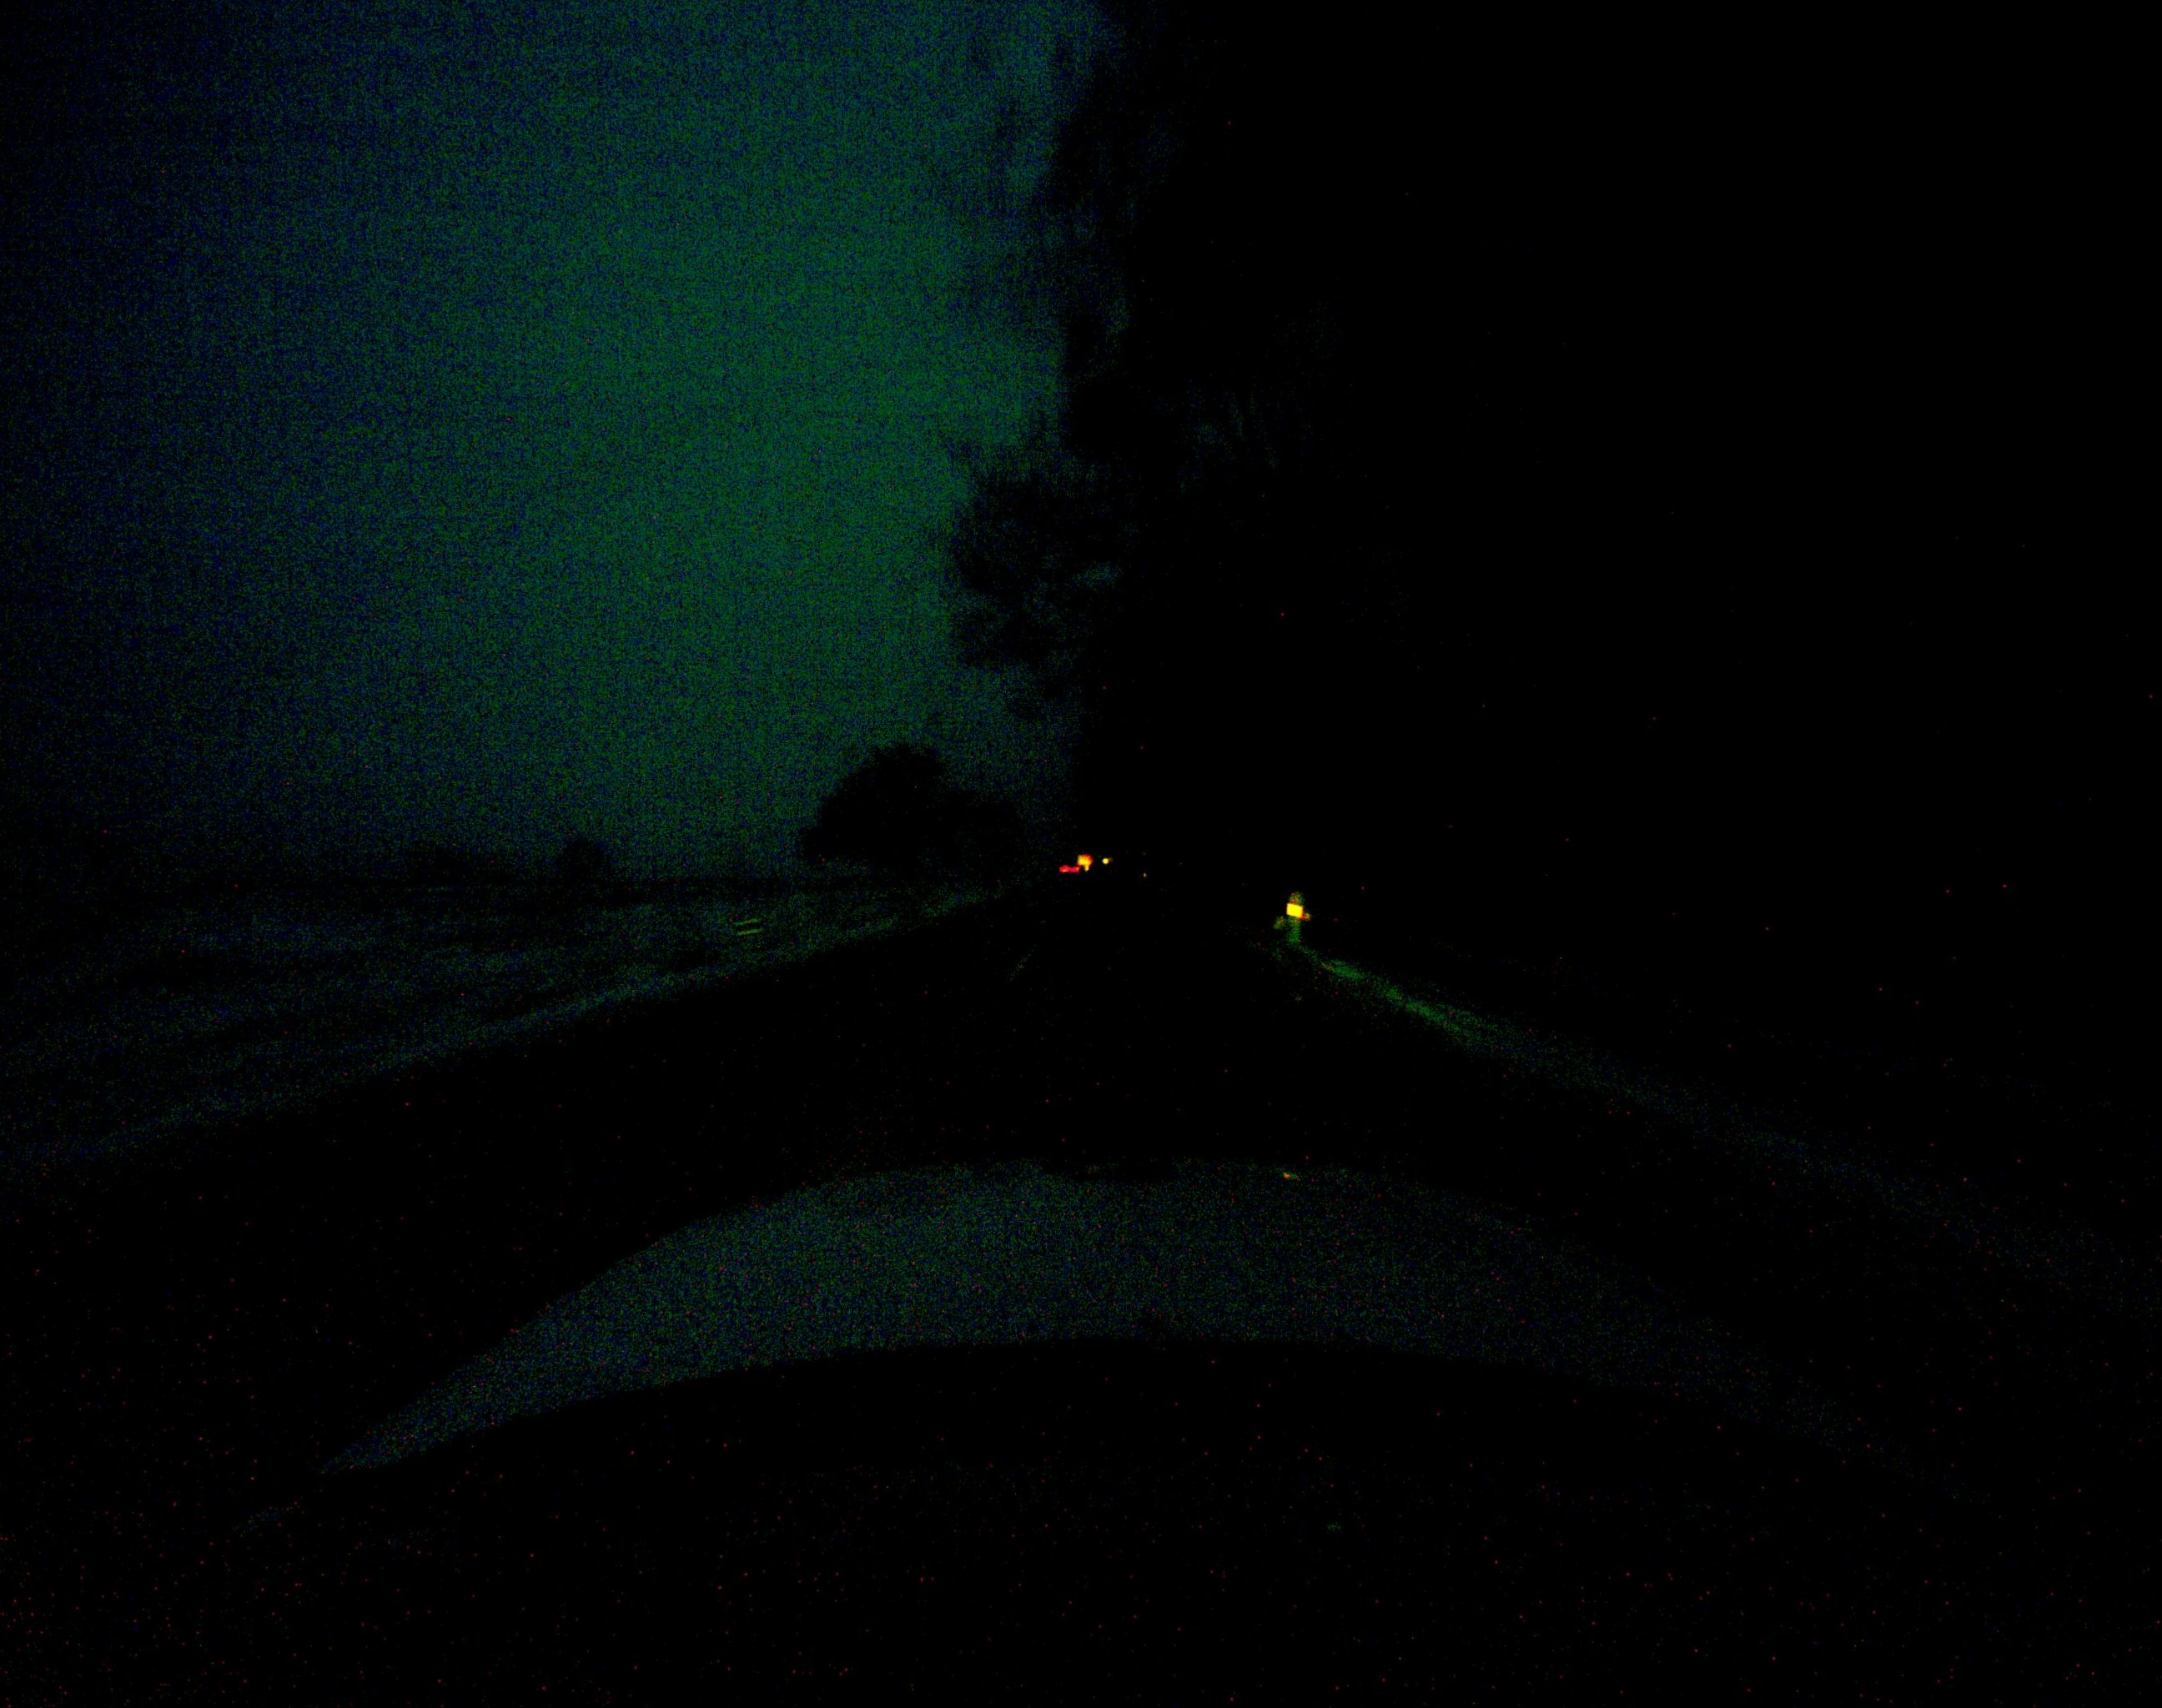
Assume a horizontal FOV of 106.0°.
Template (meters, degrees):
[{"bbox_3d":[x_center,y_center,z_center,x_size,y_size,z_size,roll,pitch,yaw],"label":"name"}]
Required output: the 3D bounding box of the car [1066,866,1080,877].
[{"bbox_3d":[-1.141,2.529,118.839,1.987,1.420,4.000,-3,0,0],"label":"car"}]
